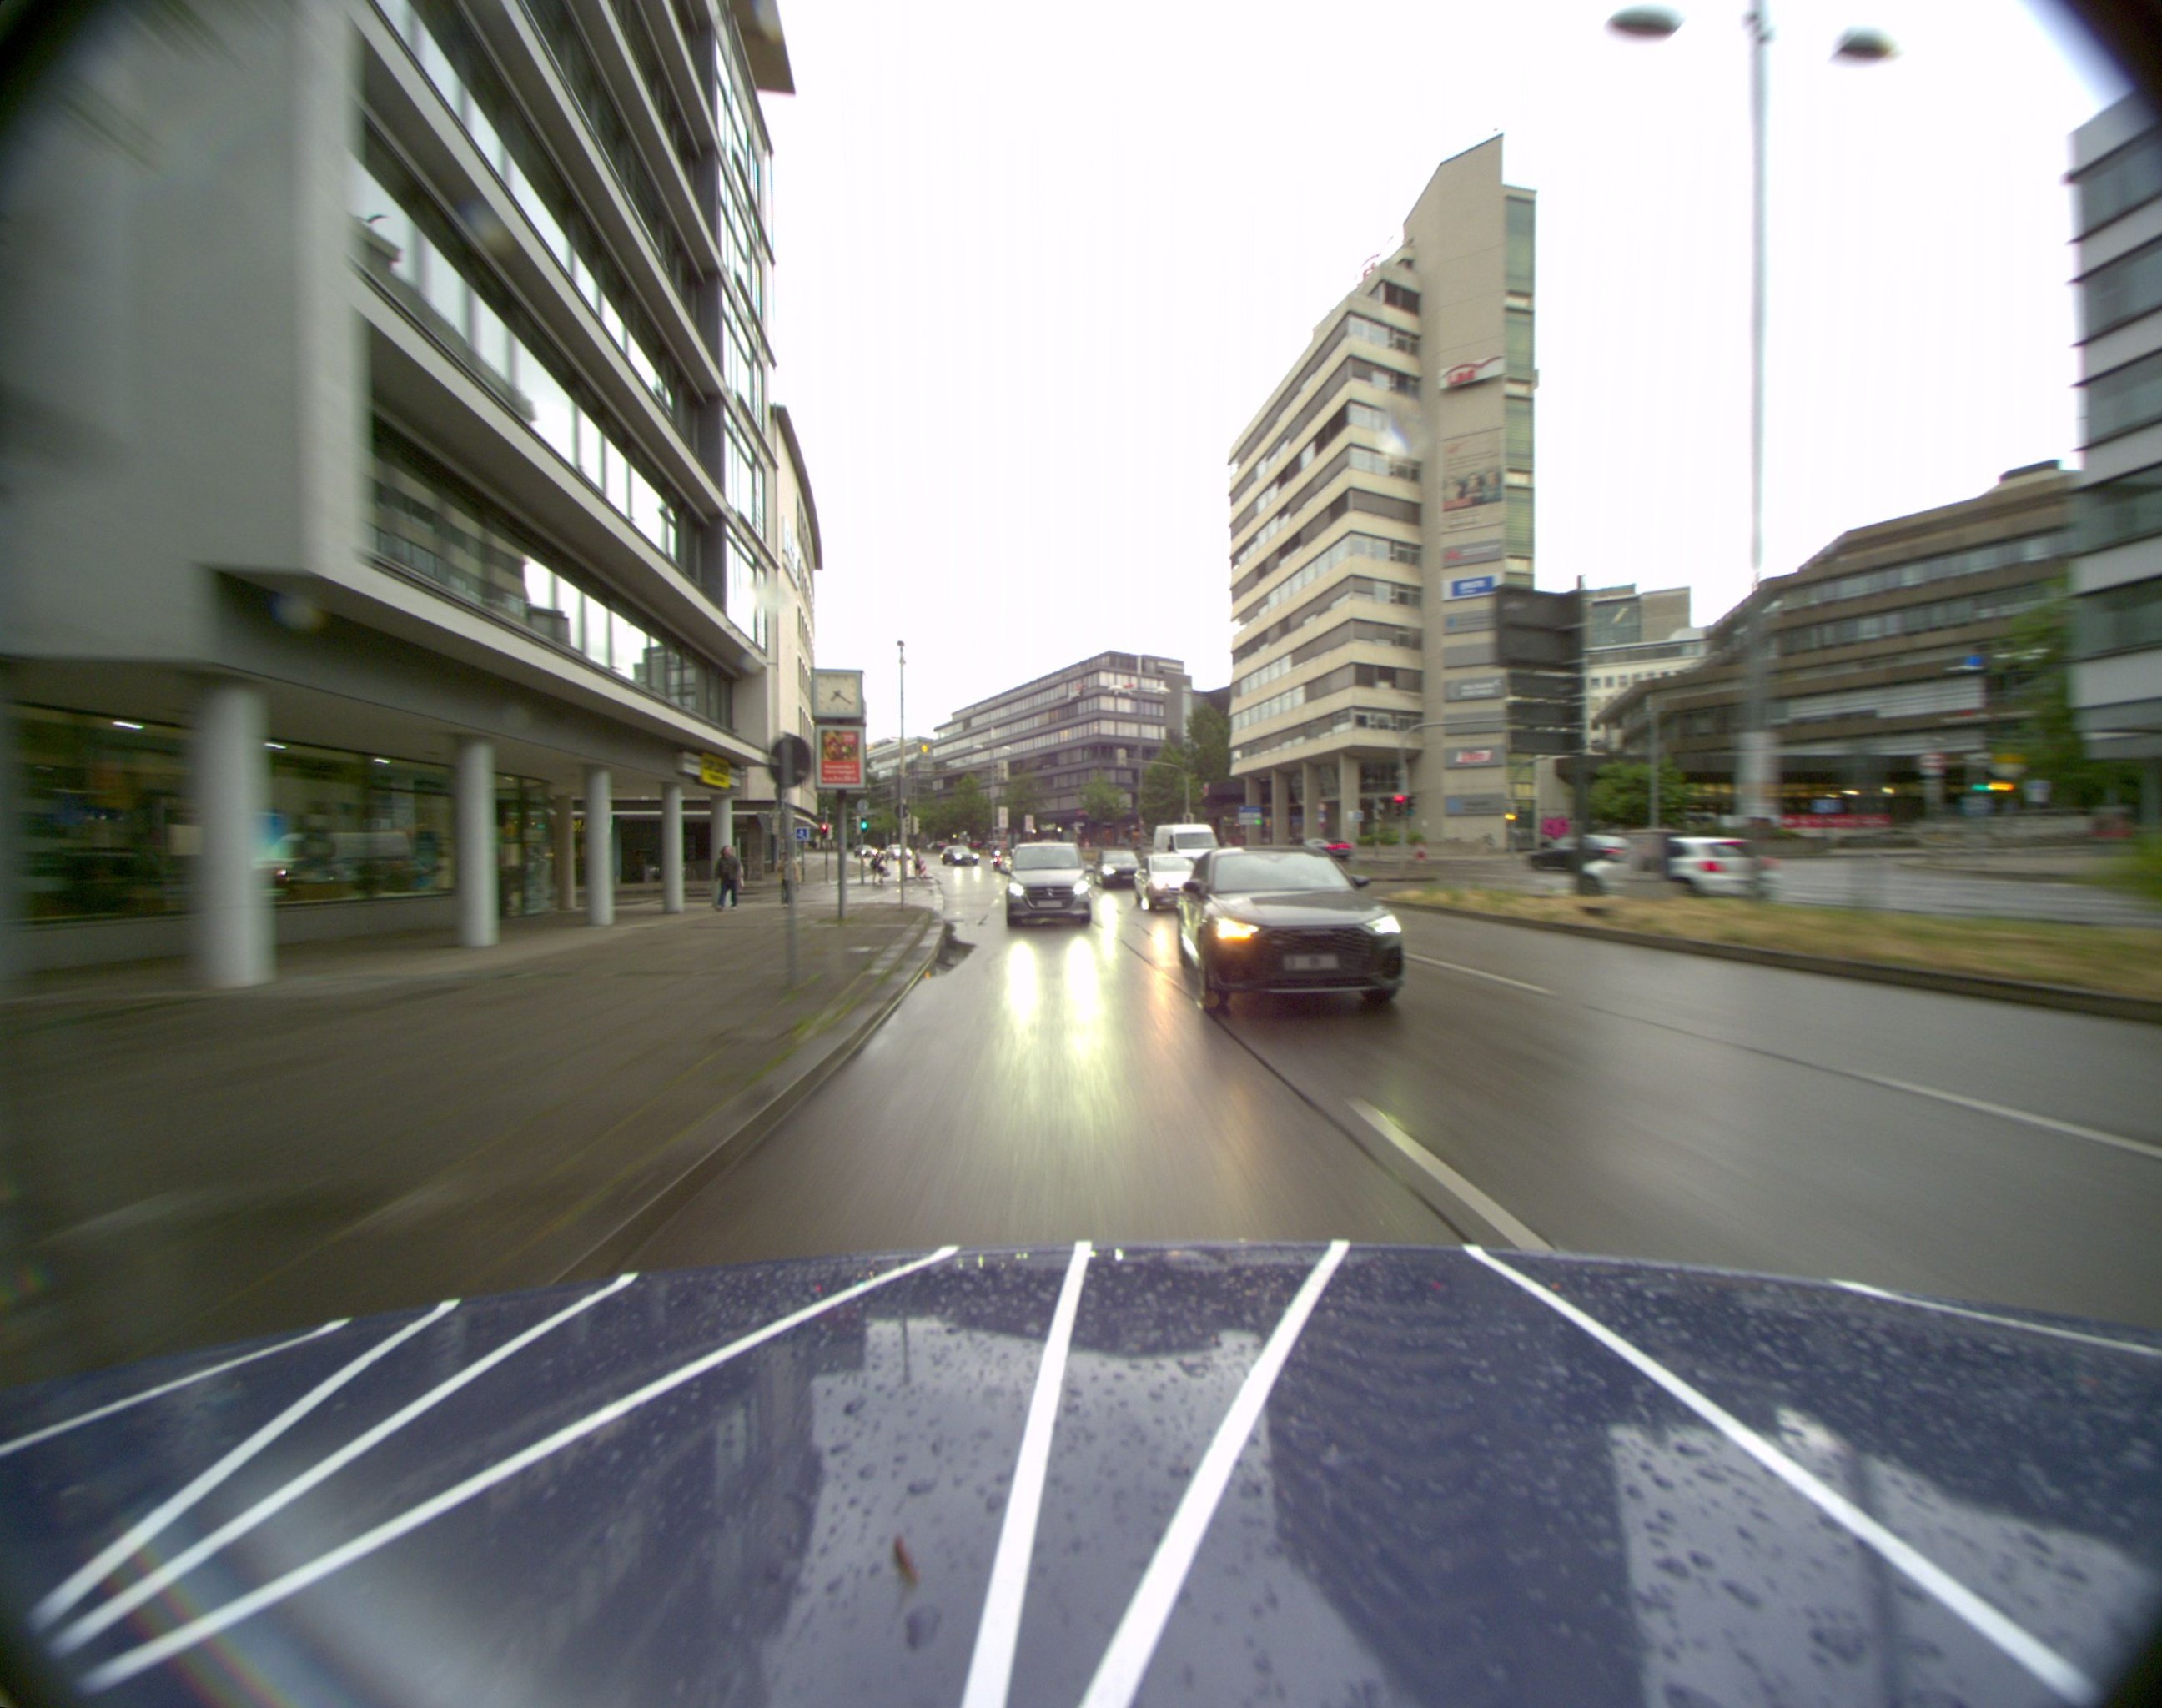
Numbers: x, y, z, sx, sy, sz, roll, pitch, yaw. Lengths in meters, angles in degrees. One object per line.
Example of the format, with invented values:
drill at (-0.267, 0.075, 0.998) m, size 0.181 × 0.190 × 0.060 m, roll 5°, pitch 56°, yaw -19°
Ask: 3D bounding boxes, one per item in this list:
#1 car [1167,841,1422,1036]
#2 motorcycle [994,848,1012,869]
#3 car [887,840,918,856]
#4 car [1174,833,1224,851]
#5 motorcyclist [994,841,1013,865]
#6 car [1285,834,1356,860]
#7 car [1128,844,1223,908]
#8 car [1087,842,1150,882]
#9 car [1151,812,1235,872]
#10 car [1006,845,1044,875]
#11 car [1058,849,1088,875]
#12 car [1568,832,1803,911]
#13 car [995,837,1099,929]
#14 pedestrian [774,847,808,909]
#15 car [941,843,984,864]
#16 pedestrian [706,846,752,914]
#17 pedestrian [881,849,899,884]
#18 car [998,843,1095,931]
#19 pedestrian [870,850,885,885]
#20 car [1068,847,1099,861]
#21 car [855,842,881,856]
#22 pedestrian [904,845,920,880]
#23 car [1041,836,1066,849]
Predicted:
car at (2.044, 0.684, 8.581) m, size 1.801 × 1.543 × 4.387 m, roll -2°, pitch 2°, yaw 3°
motorcycle at (-5.159, 0.287, 50.368) m, size 1.130 × 1.259 × 3.371 m, roll -2°, pitch 2°, yaw -6°
car at (-18.007, -0.625, 76.632) m, size 1.896 × 1.478 × 3.990 m, roll -3°, pitch 2°, yaw -30°
car at (10.505, -1.076, 68.028) m, size 1.791 × 1.509 × 5.241 m, roll -3°, pitch 2°, yaw -26°
motorcyclist at (-5.136, -0.055, 50.143) m, size 1.152 × 1.502 × 1.196 m, roll -2°, pitch 2°, yaw -7°
car at (15.982, -0.504, 51.104) m, size 2.001 × 1.576 × 5.161 m, roll -2°, pitch 2°, yaw -16°
car at (2.504, 0.523, 21.088) m, size 1.775 × 1.470 × 4.124 m, roll -2°, pitch 2°, yaw -5°
car at (1.453, 0.279, 30.918) m, size 1.905 × 1.393 × 4.238 m, roll -2°, pitch 2°, yaw -6°
car at (4.851, -0.566, 34.023) m, size 2.260 × 2.372 × 5.714 m, roll -2°, pitch 2°, yaw -7°
car at (-3.168, 0.305, 42.401) m, size 1.691 × 1.478 × 3.995 m, roll -2°, pitch 2°, yaw -10°
car at (-0.473, 0.474, 49.512) m, size 1.784 × 1.499 × 3.999 m, roll -2°, pitch 2°, yaw 1°
car at (12.922, 0.285, 16.618) m, size 1.757 × 1.456 × 3.968 m, roll -2°, pitch 2°, yaw -6°
car at (-0.665, 0.568, 18.744) m, size 2.059 × 1.882 × 5.048 m, roll -2°, pitch 2°, yaw 3°
pedestrian at (-8.553, 0.693, 22.431) m, size 0.641 × 1.772 × 0.880 m, roll -2°, pitch 0°, yaw -2°
car at (-9.316, -0.065, 59.341) m, size 1.896 × 1.478 × 3.990 m, roll -3°, pitch 2°, yaw -31°
pedestrian at (-9.472, 0.691, 20.488) m, size 0.794 × 1.772 × 0.894 m, roll -2°, pitch 0°, yaw -5°
pedestrian at (-9.009, 0.597, 35.902) m, size 0.654 × 1.589 × 1.058 m, roll -2°, pitch 2°, yaw -7°
car at (-0.700, 0.673, 18.209) m, size 1.957 × 1.768 × 3.999 m, roll -2°, pitch 2°, yaw 2°
pedestrian at (-9.613, 0.632, 35.850) m, size 0.527 × 1.589 × 0.730 m, roll -2°, pitch 2°, yaw -7°
car at (0.245, 0.006, 85.775) m, size 1.756 × 1.508 × 4.053 m, roll -3°, pitch 2°, yaw -27°
car at (-24.746, -0.615, 88.327) m, size 1.896 × 1.478 × 3.990 m, roll -3°, pitch 2°, yaw -30°
pedestrian at (-8.475, 0.417, 38.177) m, size 0.654 × 1.716 × 0.815 m, roll -3°, pitch 2°, yaw -18°
car at (-3.253, -1.337, 90.667) m, size 1.745 × 1.456 × 3.992 m, roll -3°, pitch 2°, yaw -21°
